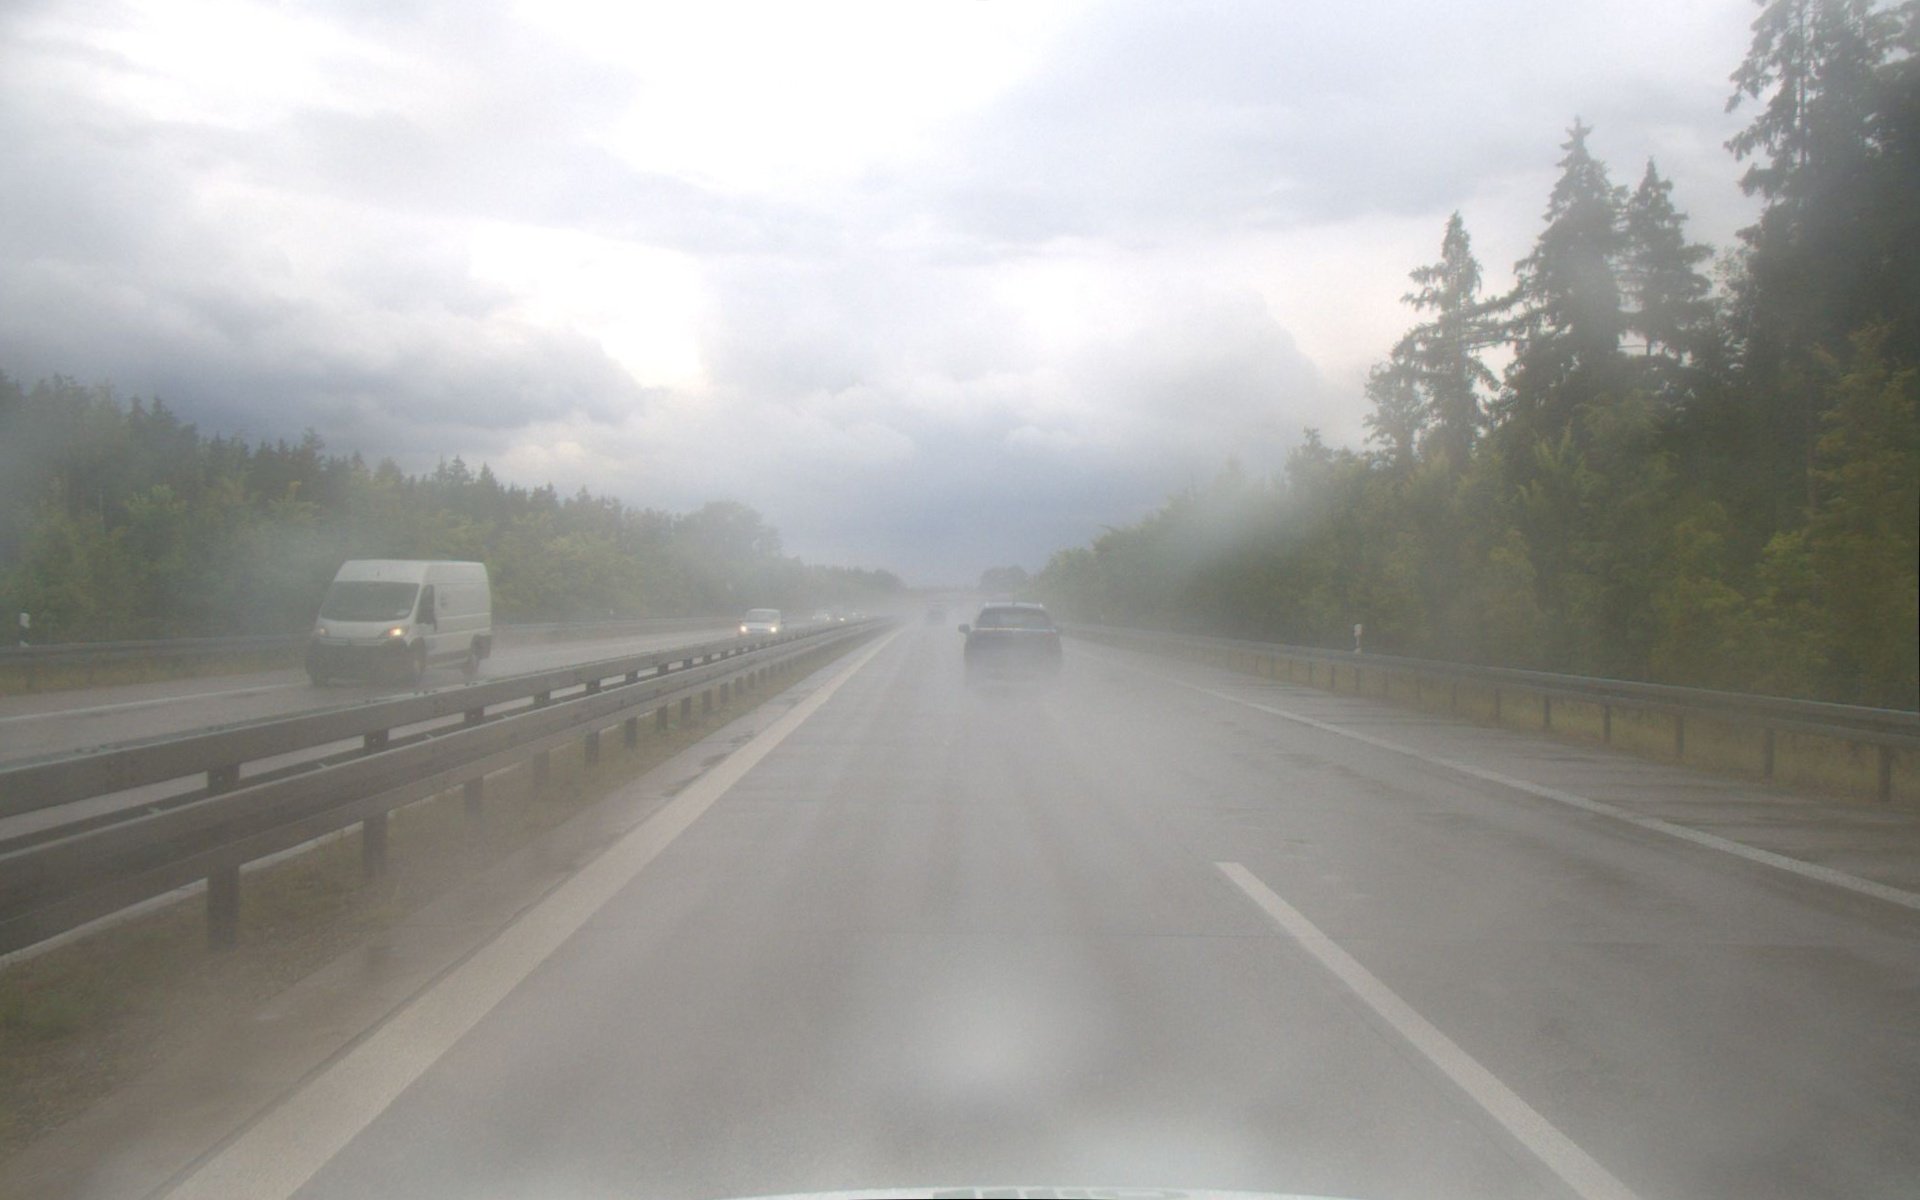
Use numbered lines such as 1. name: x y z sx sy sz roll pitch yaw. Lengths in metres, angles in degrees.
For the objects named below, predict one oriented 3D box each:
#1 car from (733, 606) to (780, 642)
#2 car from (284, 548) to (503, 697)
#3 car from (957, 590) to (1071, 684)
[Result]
1. car: -8.590 1.002 70.102 1.733 1.443 4.602 0 0 -4
2. car: -11.617 0.427 34.613 2.303 2.797 6.873 0 0 -1
3. car: 0.946 0.698 30.892 1.856 1.604 3.630 1 -2 -2
